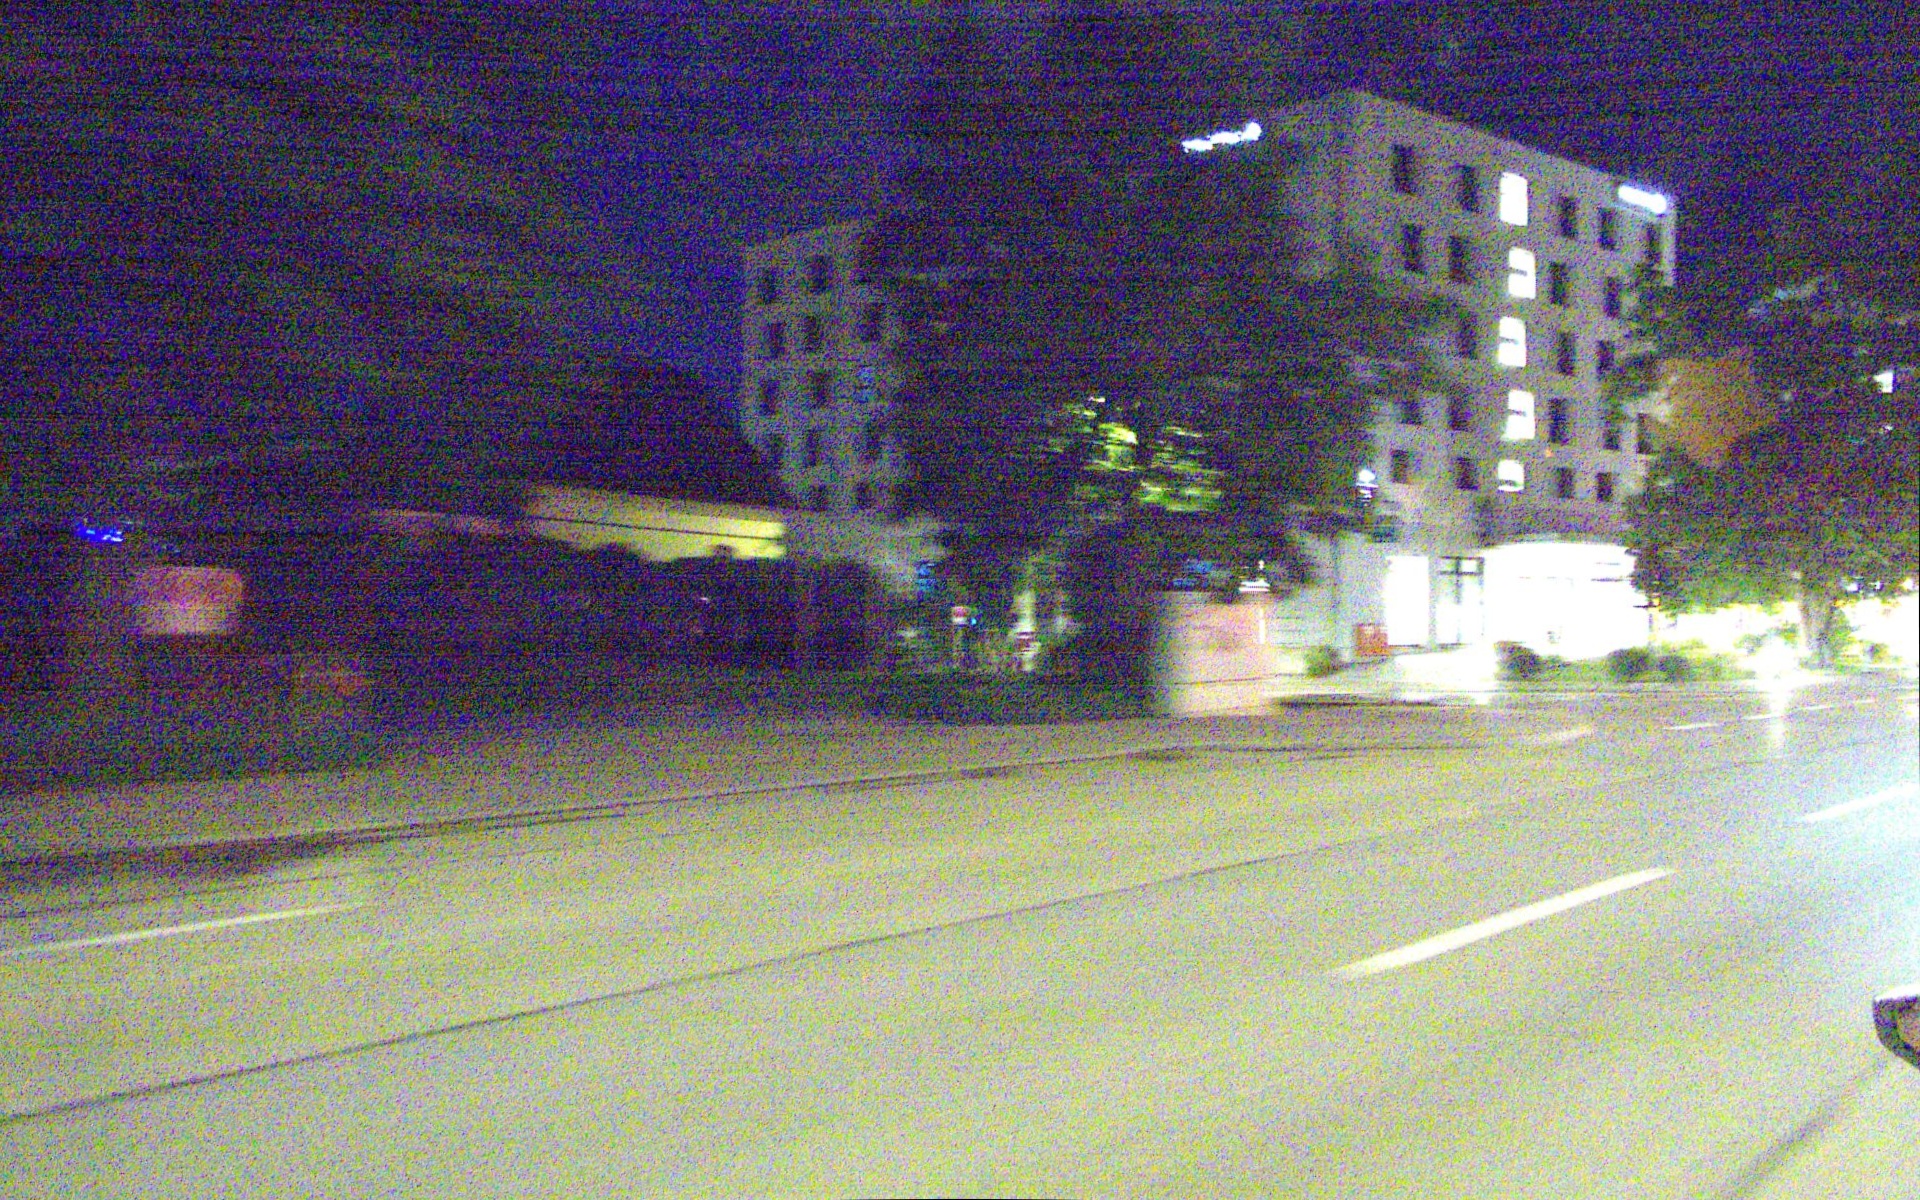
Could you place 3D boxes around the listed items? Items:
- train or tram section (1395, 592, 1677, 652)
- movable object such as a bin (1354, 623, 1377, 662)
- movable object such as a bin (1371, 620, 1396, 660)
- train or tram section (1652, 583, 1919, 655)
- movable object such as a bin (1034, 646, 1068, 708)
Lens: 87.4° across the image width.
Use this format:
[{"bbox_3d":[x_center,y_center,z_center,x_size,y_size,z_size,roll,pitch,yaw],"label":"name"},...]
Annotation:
[{"bbox_3d":[41.824,1.745,74.860,2.903,3.912,19.717,1,-2,-28],"label":"train or tram section"},{"bbox_3d":[14.812,1.538,36.707,0.724,1.389,0.354,-3,0,-33],"label":"movable object such as a bin"},{"bbox_3d":[15.619,1.470,37.077,0.799,1.471,0.438,-1,-1,-31],"label":"movable object such as a bin"},{"bbox_3d":[50.871,1.160,57.783,2.887,3.873,19.101,1,-2,-28],"label":"train or tram section"},{"bbox_3d":[1.990,1.682,21.881,0.608,1.324,0.569,-2,-3,18],"label":"movable object such as a bin"}]
